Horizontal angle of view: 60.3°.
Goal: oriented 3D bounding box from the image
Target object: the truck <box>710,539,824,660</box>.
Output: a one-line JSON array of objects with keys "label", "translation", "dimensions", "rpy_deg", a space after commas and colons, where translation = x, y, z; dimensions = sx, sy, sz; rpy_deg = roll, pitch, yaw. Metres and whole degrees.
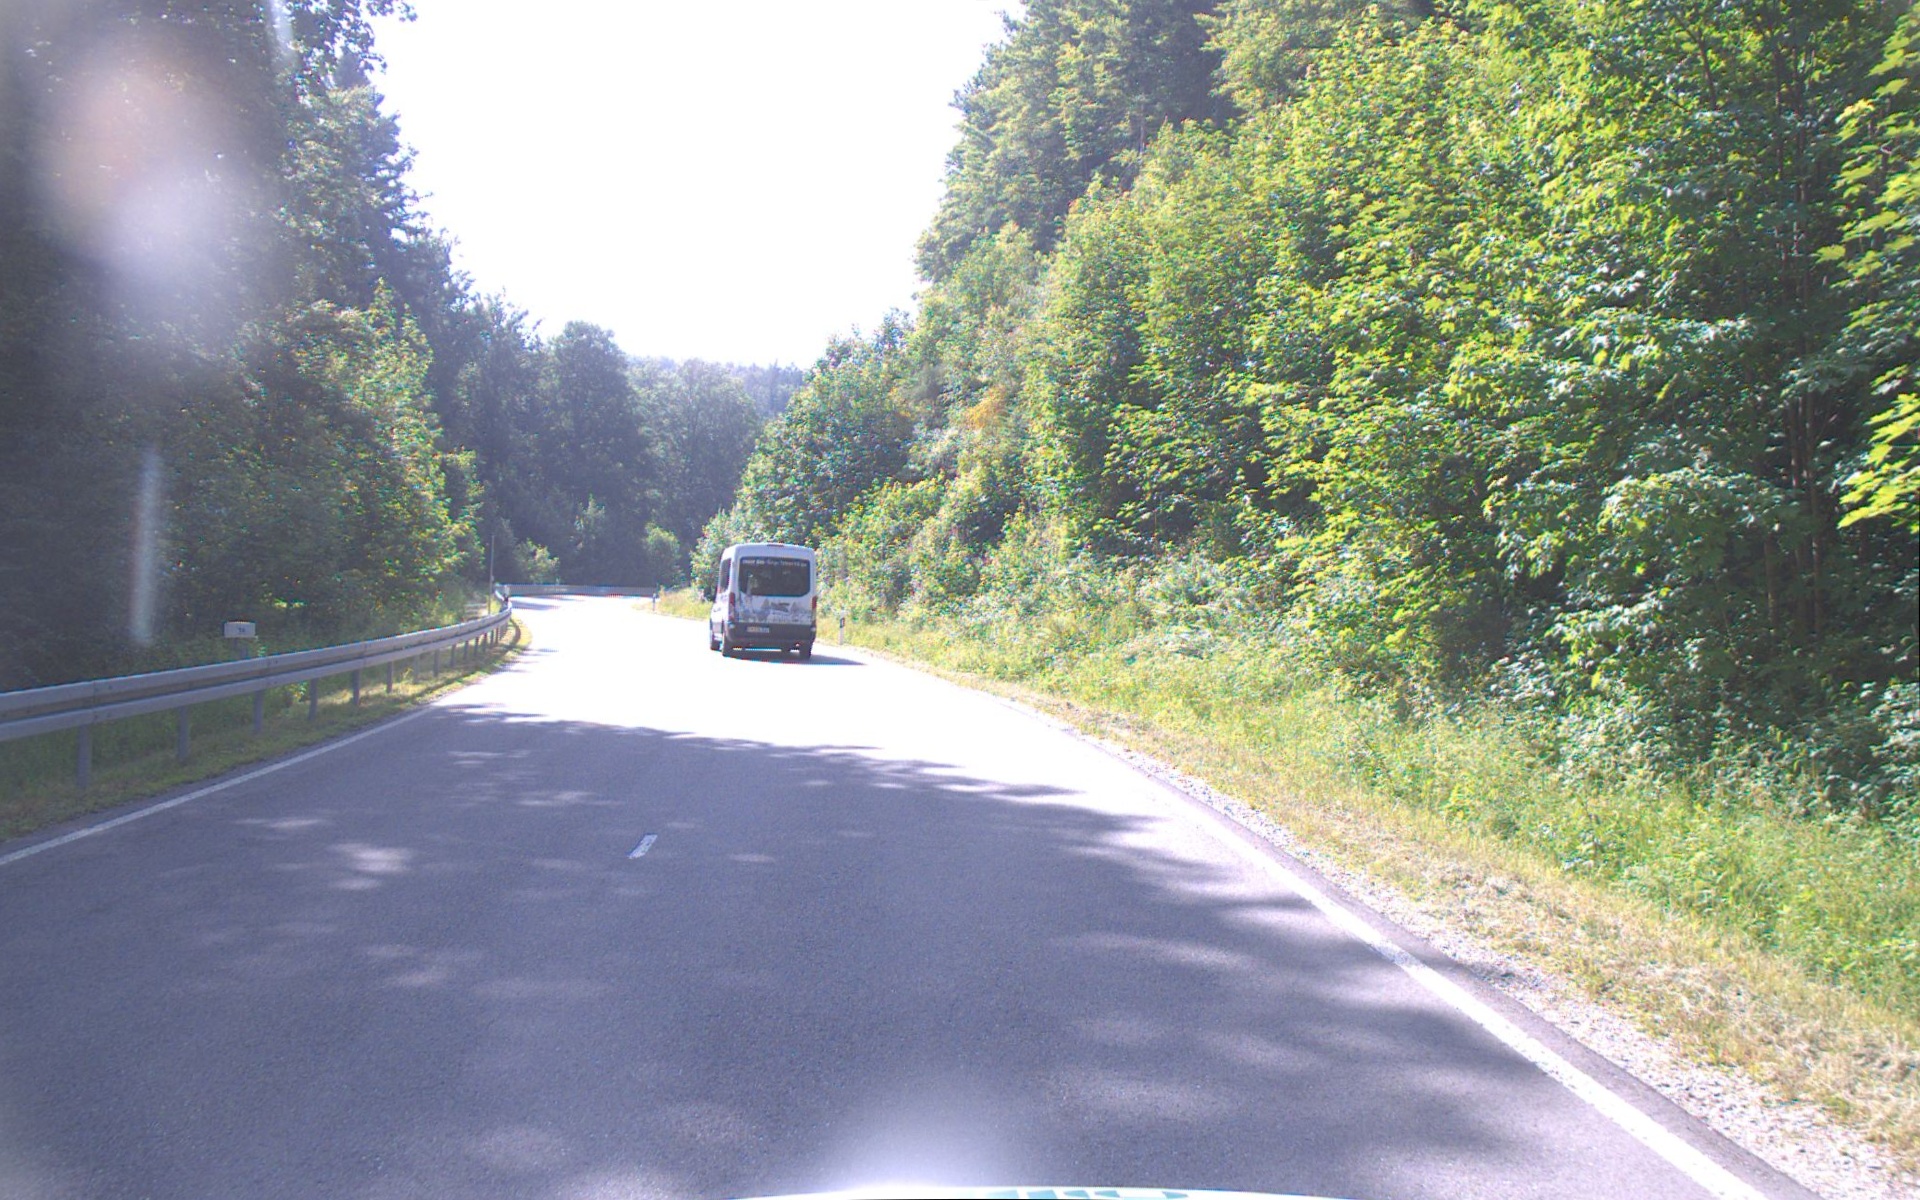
[{"label": "truck", "translation": [-4.536, -0.027, 38.111], "dimensions": [2.078, 2.542, 5.343], "rpy_deg": [1, 0, -12]}]
